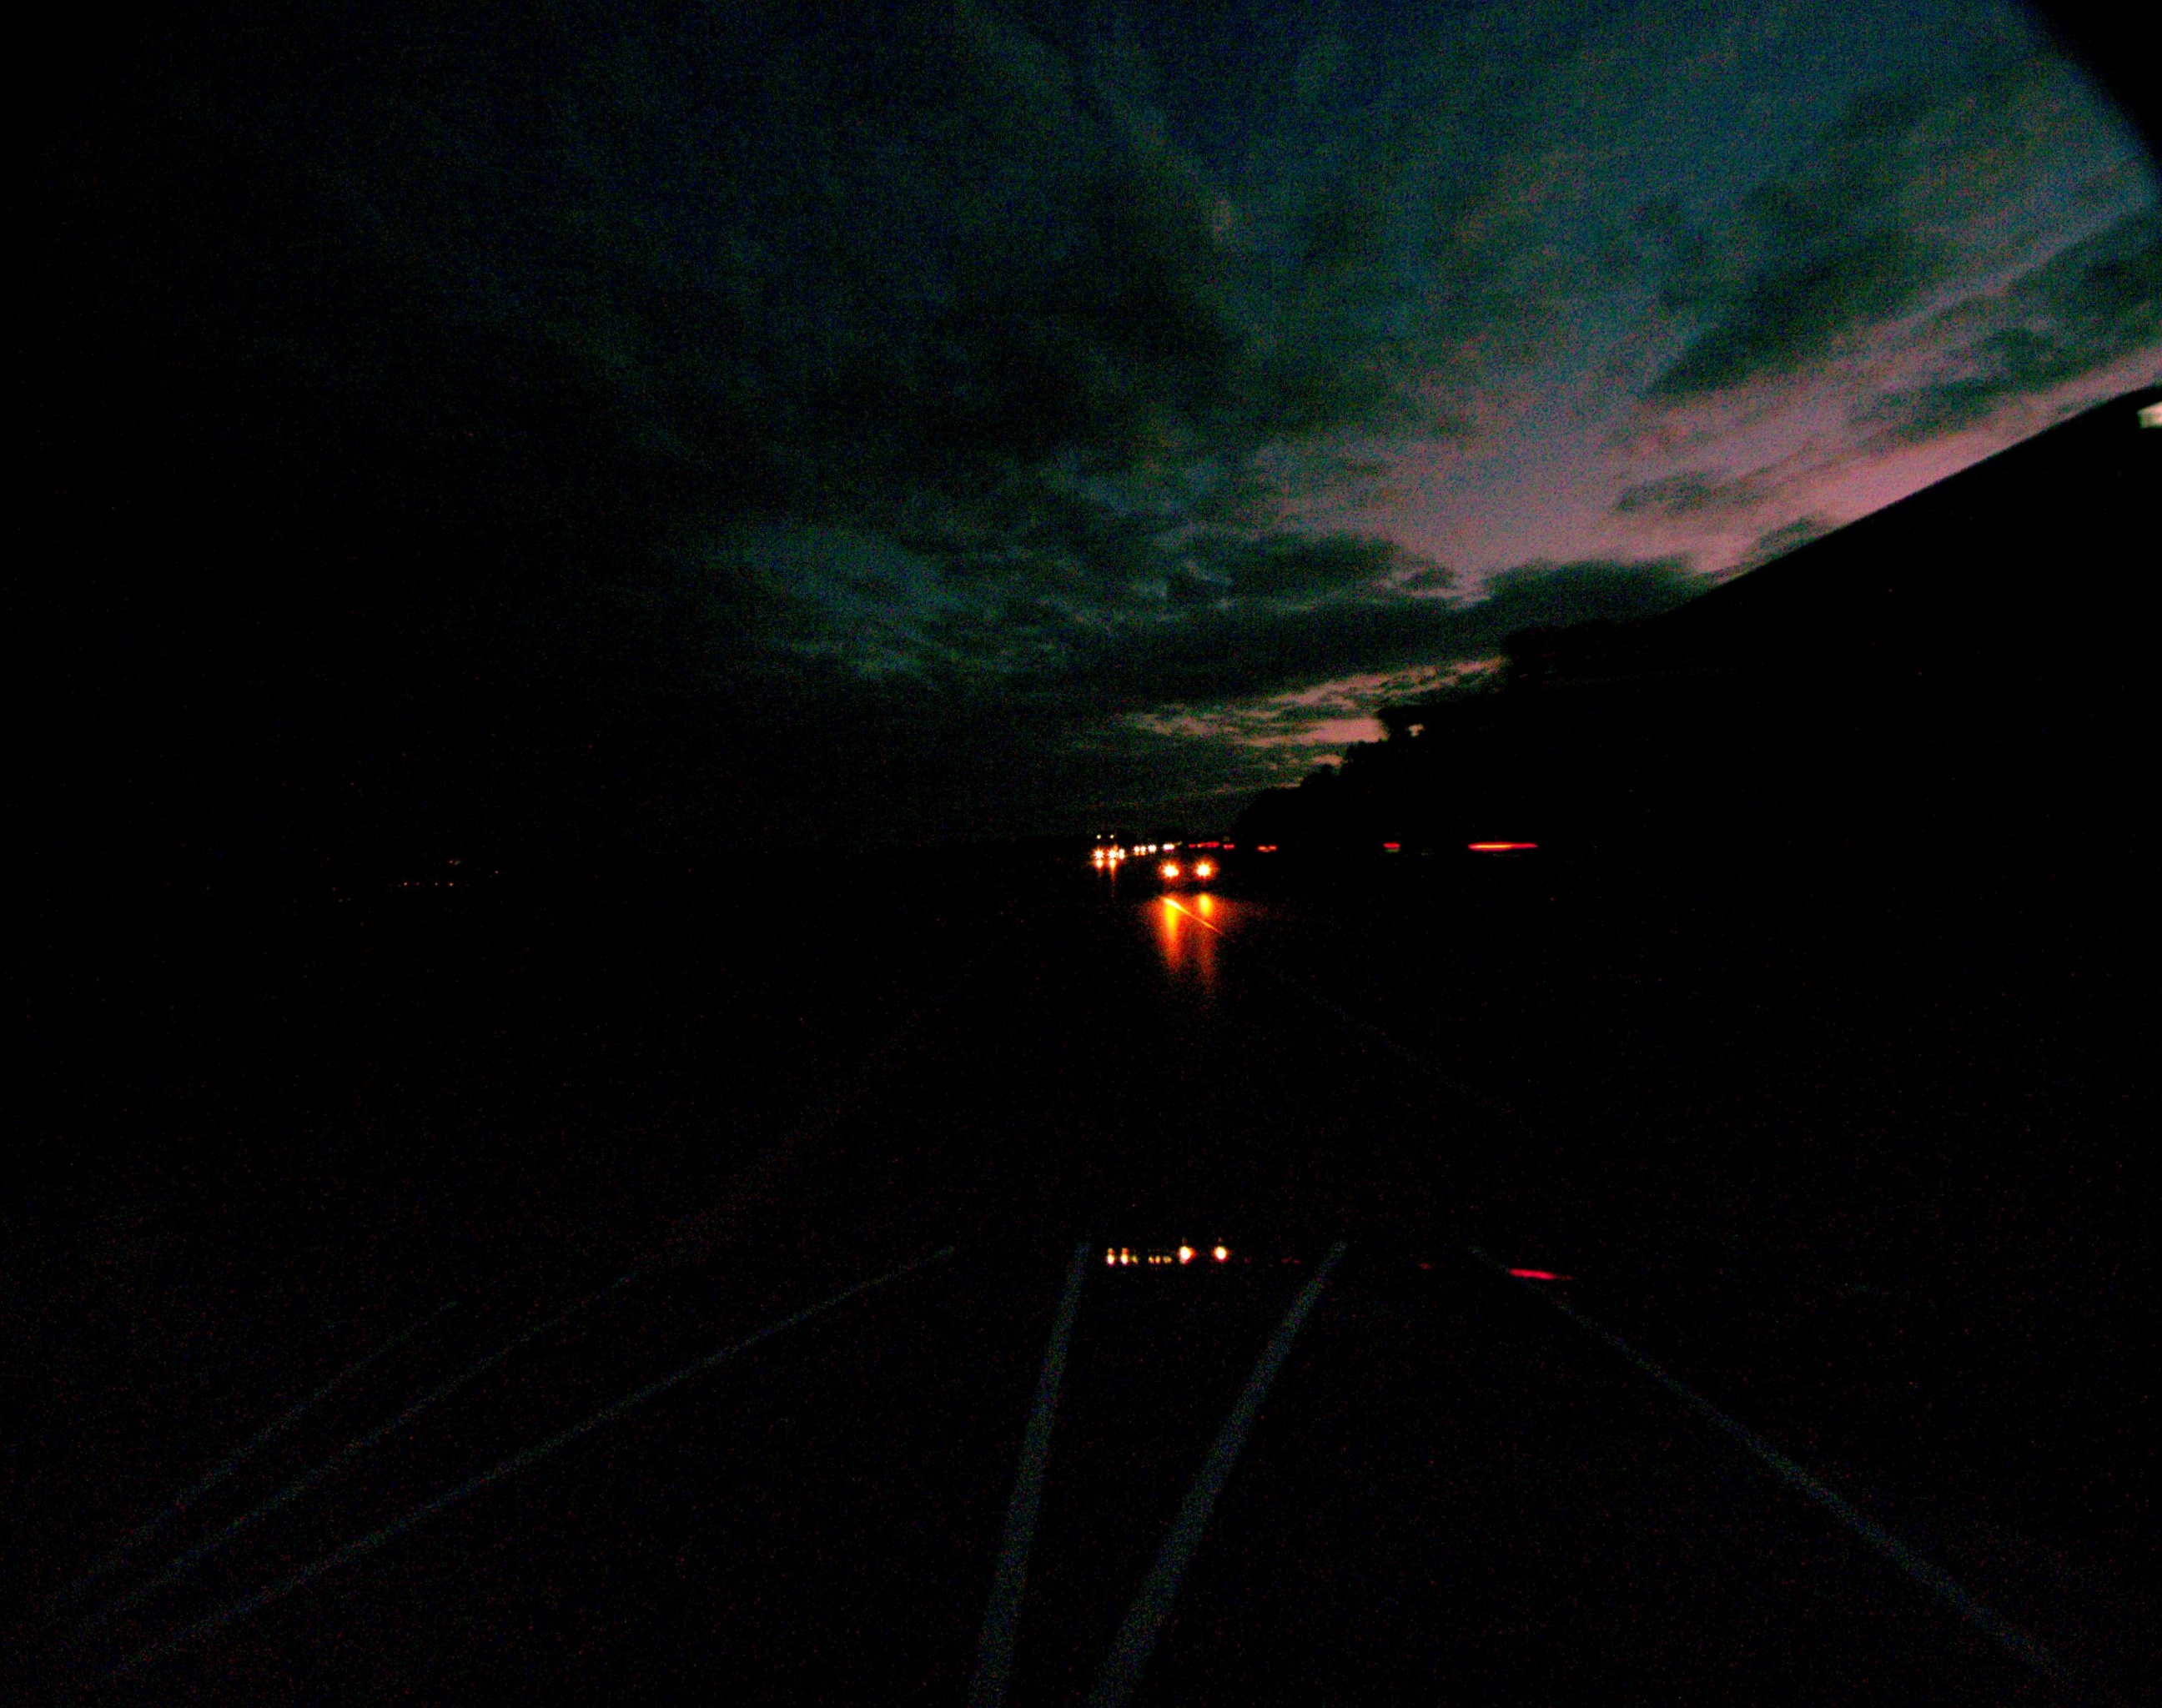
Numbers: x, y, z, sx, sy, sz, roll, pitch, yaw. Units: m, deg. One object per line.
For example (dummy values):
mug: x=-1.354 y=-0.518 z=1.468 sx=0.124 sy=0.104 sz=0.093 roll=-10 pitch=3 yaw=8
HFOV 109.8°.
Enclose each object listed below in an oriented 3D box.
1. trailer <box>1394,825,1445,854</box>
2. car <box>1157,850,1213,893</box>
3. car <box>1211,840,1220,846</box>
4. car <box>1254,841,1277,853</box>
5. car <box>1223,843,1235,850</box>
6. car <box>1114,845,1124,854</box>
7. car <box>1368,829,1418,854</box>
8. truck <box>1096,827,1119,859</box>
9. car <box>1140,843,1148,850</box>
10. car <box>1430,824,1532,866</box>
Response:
trailer: x=25.086 y=-1.054 z=56.425 sx=1.917 sy=1.991 sz=4.240 roll=-4 pitch=0 yaw=2
car: x=4.094 y=0.638 z=30.390 sx=1.717 sy=1.471 sz=3.999 roll=-3 pitch=1 yaw=1
car: x=39.670 y=-3.197 z=223.730 sx=1.998 sy=1.497 sz=4.506 roll=-3 pitch=1 yaw=4
car: x=22.585 y=-0.889 z=93.042 sx=1.693 sy=1.346 sz=4.897 roll=-3 pitch=1 yaw=2
car: x=32.870 y=-1.719 z=168.729 sx=1.998 sy=1.525 sz=5.007 roll=-3 pitch=1 yaw=3
car: x=8.260 y=-0.959 z=165.484 sx=1.998 sy=1.715 sz=4.000 roll=-3 pitch=1 yaw=2
car: x=25.449 y=-1.039 z=62.251 sx=1.917 sy=1.857 sz=5.523 roll=-3 pitch=1 yaw=2
truck: x=3.944 y=-1.699 z=114.219 sx=3.026 sy=4.372 sz=11.614 roll=-3 pitch=1 yaw=2
car: x=15.421 y=-1.928 z=187.036 sx=1.653 sy=1.654 sz=3.775 roll=-3 pitch=1 yaw=2
car: x=19.948 y=-0.451 z=38.240 sx=1.918 sy=1.857 sz=6.014 roll=-3 pitch=1 yaw=0
